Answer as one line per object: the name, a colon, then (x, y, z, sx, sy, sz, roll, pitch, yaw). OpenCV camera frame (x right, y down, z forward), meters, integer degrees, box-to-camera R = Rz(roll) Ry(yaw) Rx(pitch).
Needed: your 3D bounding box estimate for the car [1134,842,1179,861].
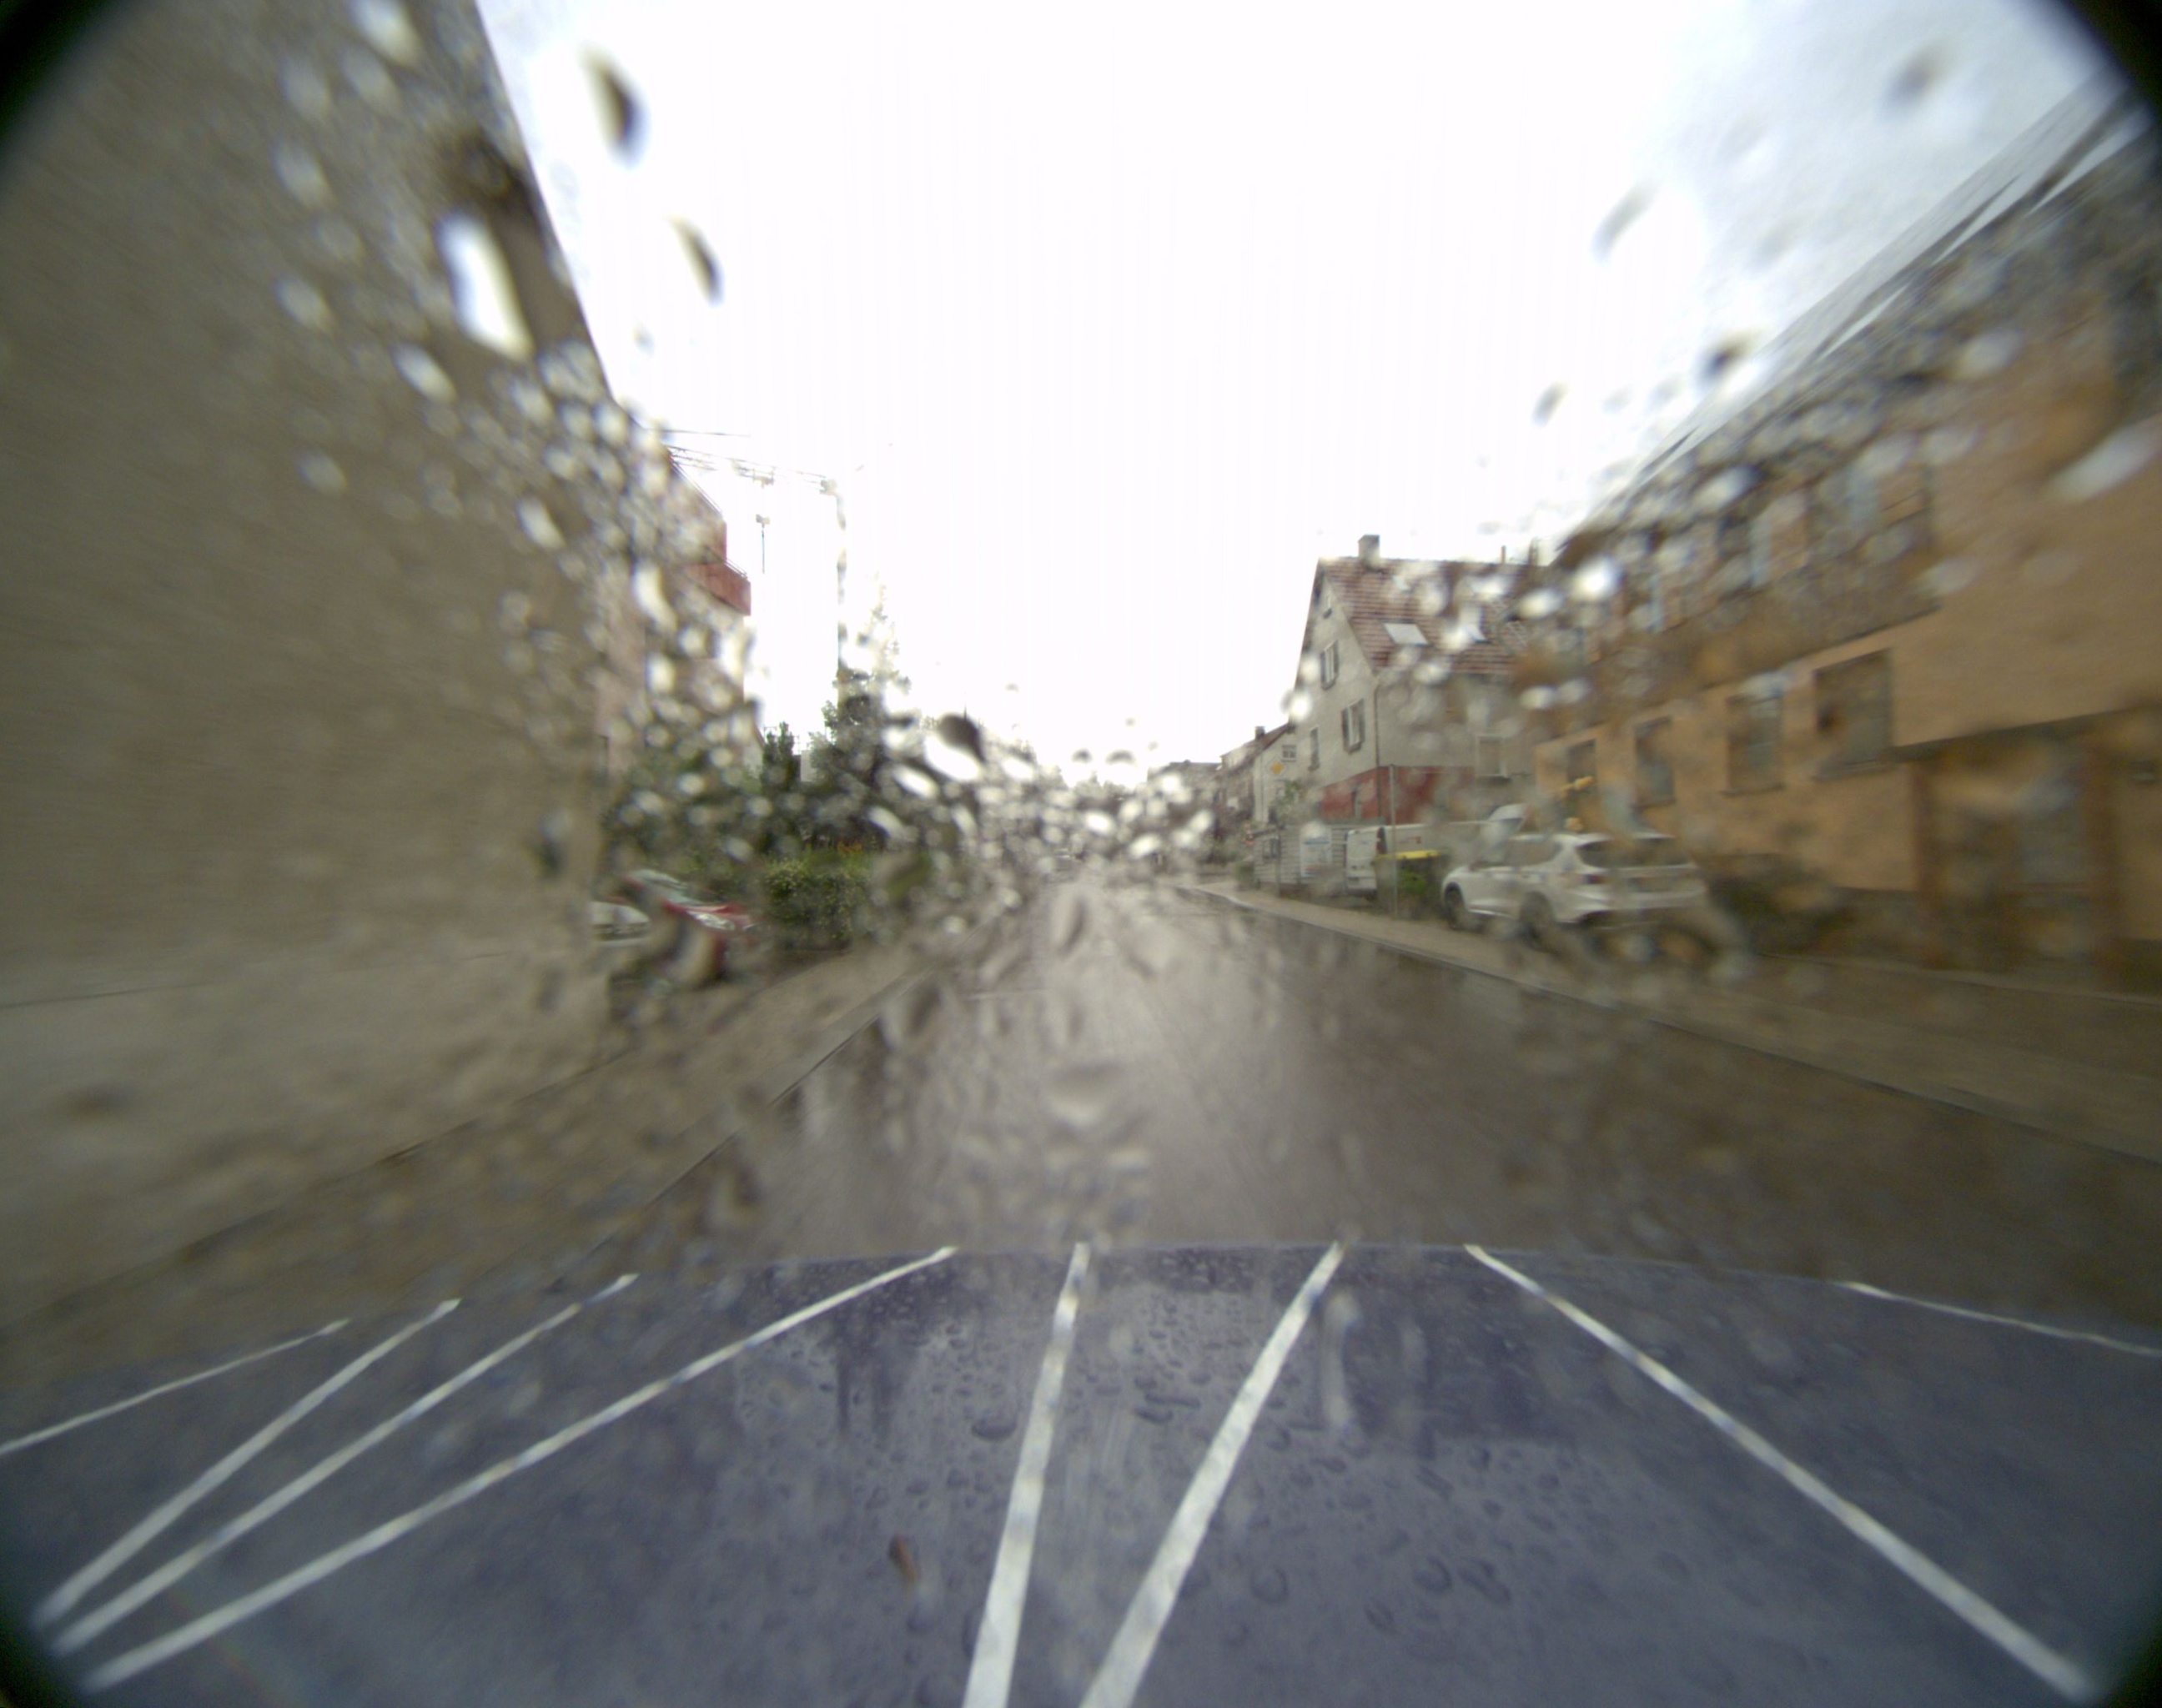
car: (7.351, -0.277, 73.907, 4.001, 1.696, 1.780, -2, 1, -12)

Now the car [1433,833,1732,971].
car: (7.332, 0.601, 11.809, 1.818, 1.696, 4.618, -1, 0, 4)

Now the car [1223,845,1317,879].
car: (9.321, 0.356, 37.553, 4.210, 1.401, 1.590, -3, 2, -12)

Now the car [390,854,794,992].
car: (-6.345, 0.839, 10.220, 4.227, 1.639, 1.903, 0, 0, 2)

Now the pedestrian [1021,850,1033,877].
pedestrian: (-3.192, 0.559, 44.956, 0.656, 1.572, 0.436, 0, 1, -1)

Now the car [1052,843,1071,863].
car: (-2.125, -0.127, 82.673, 1.711, 2.089, 3.938, -2, 0, -5)

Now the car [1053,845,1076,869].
car: (-1.376, 0.217, 65.211, 1.827, 1.964, 4.516, -1, 1, 0)

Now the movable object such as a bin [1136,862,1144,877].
movable object such as a bin: (4.185, 1.098, 53.900, 0.521, 1.020, 0.414, -1, 1, 0)

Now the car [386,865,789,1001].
car: (-6.301, 0.963, 10.091, 4.121, 1.558, 1.796, -1, 0, -2)

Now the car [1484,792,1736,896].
car: (15.088, -0.289, 21.853, 5.861, 2.513, 2.068, -3, 1, -4)

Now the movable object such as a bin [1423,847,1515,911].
movable object such as a bin: (8.734, 0.547, 17.159, 1.510, 1.360, 0.996, -2, 1, -3)

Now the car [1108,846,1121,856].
car: (5.041, -0.468, 114.433, 1.709, 1.508, 3.590, 0, 1, -3)

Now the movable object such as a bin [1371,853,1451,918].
movable object such as a bin: (7.226, 0.672, 16.689, 1.289, 1.360, 0.996, -1, 0, -3)

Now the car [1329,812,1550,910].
car: (8.860, 0.178, 19.004, 4.523, 1.967, 1.999, -5, -1, -9)

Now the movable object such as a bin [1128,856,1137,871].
movable object such as a bin: (3.691, 0.683, 54.555, 0.521, 1.043, 0.414, -5, 1, 0)
